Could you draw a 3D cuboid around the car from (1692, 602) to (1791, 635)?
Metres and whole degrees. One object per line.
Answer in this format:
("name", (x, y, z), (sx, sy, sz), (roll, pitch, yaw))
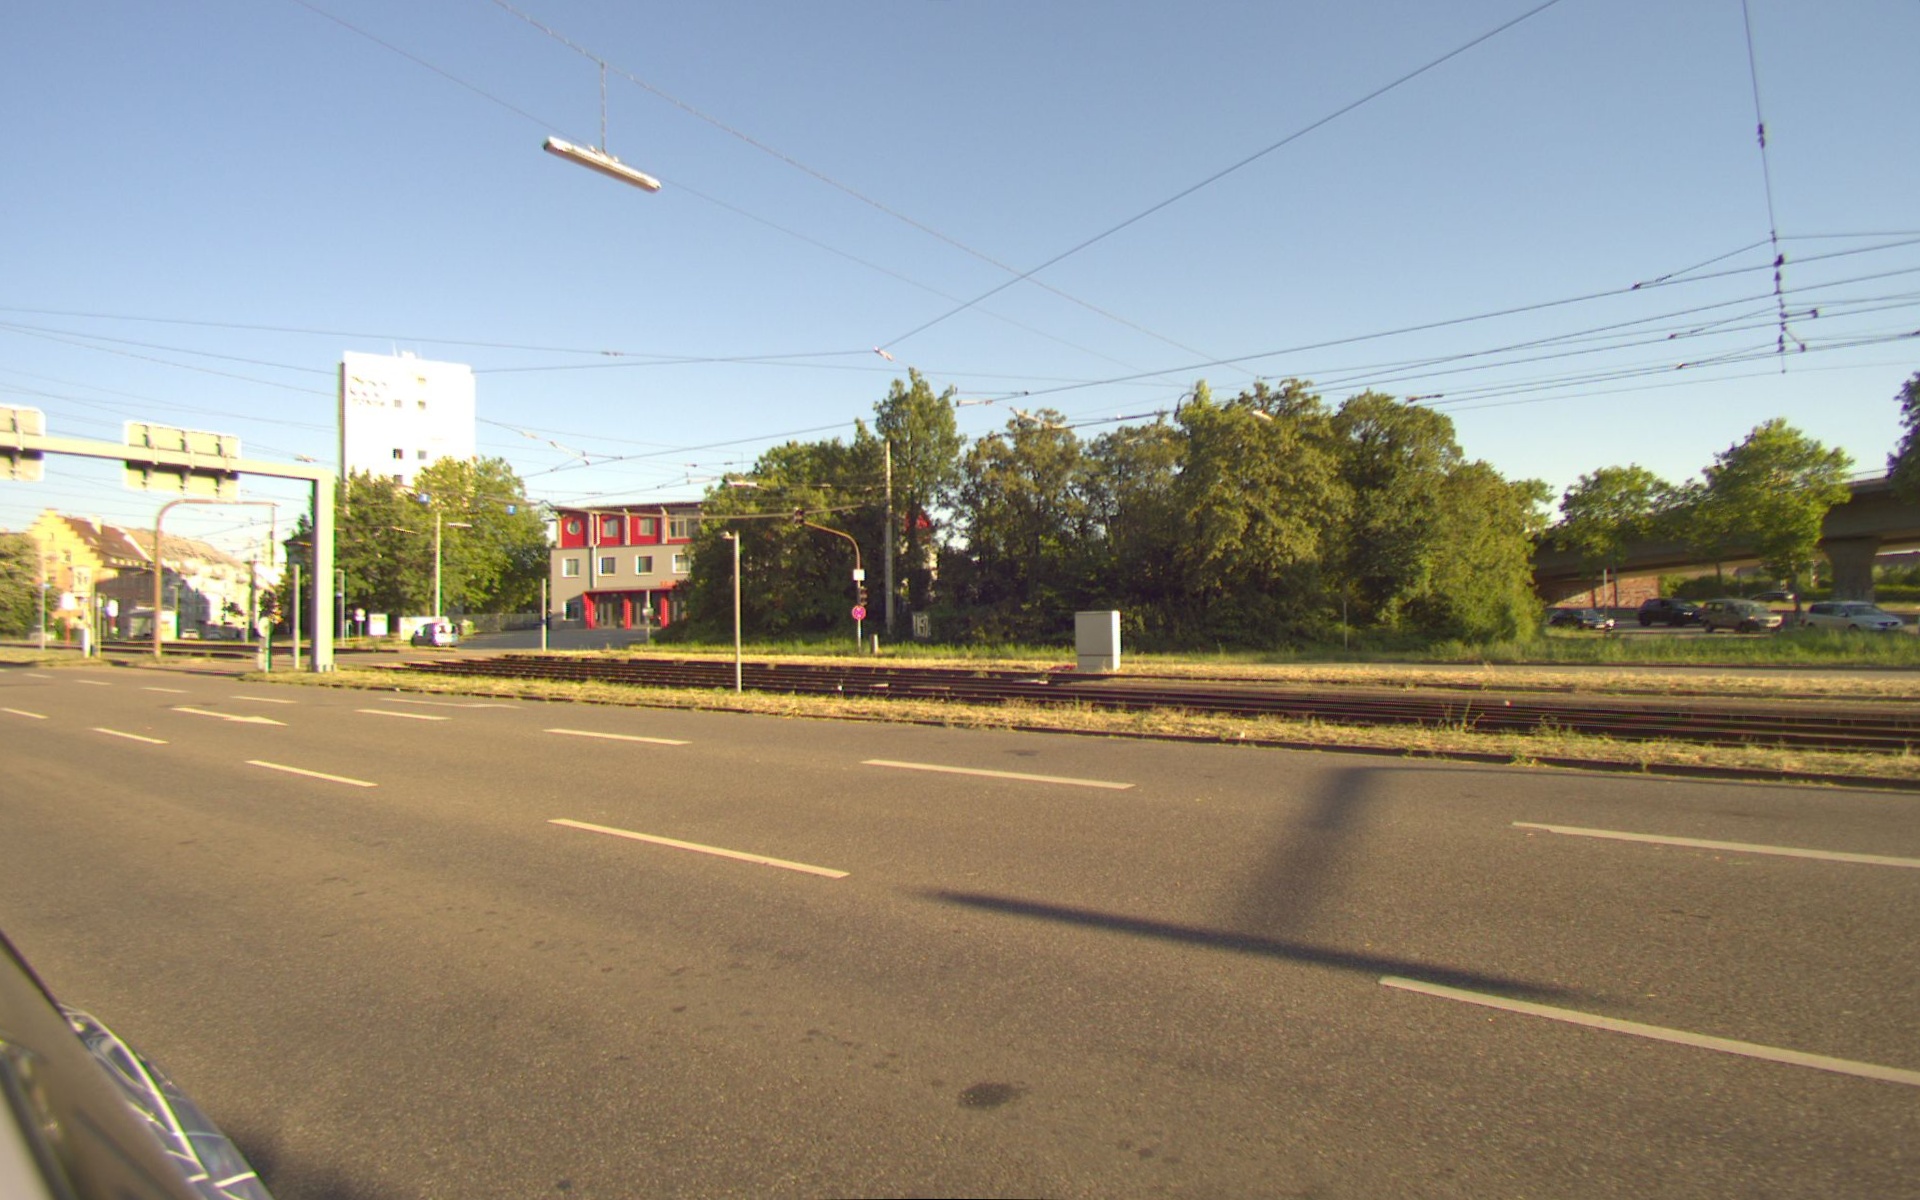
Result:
("car", (41.401, 0.987, 53.754), (1.669, 1.691, 4.416), (-1, -1, -2))

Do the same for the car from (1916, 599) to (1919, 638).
("car", (39.671, 0.735, 38.951), (1.674, 1.586, 4.755), (-2, 0, 8))

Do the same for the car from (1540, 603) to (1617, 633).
("car", (37.136, 1.104, 60.922), (1.730, 1.691, 4.753), (-1, -1, 2))

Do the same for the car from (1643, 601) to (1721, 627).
("car", (45.526, 0.899, 63.918), (1.600, 1.537, 4.415), (-1, -1, -2))

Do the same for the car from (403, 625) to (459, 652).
("car", (-36.094, 2.646, 69.005), (4.254, 1.801, 1.914), (-3, -3, 39))

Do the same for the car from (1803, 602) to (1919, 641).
("car", (40.430, 0.966, 45.547), (1.673, 1.643, 4.279), (-1, -1, 6))
